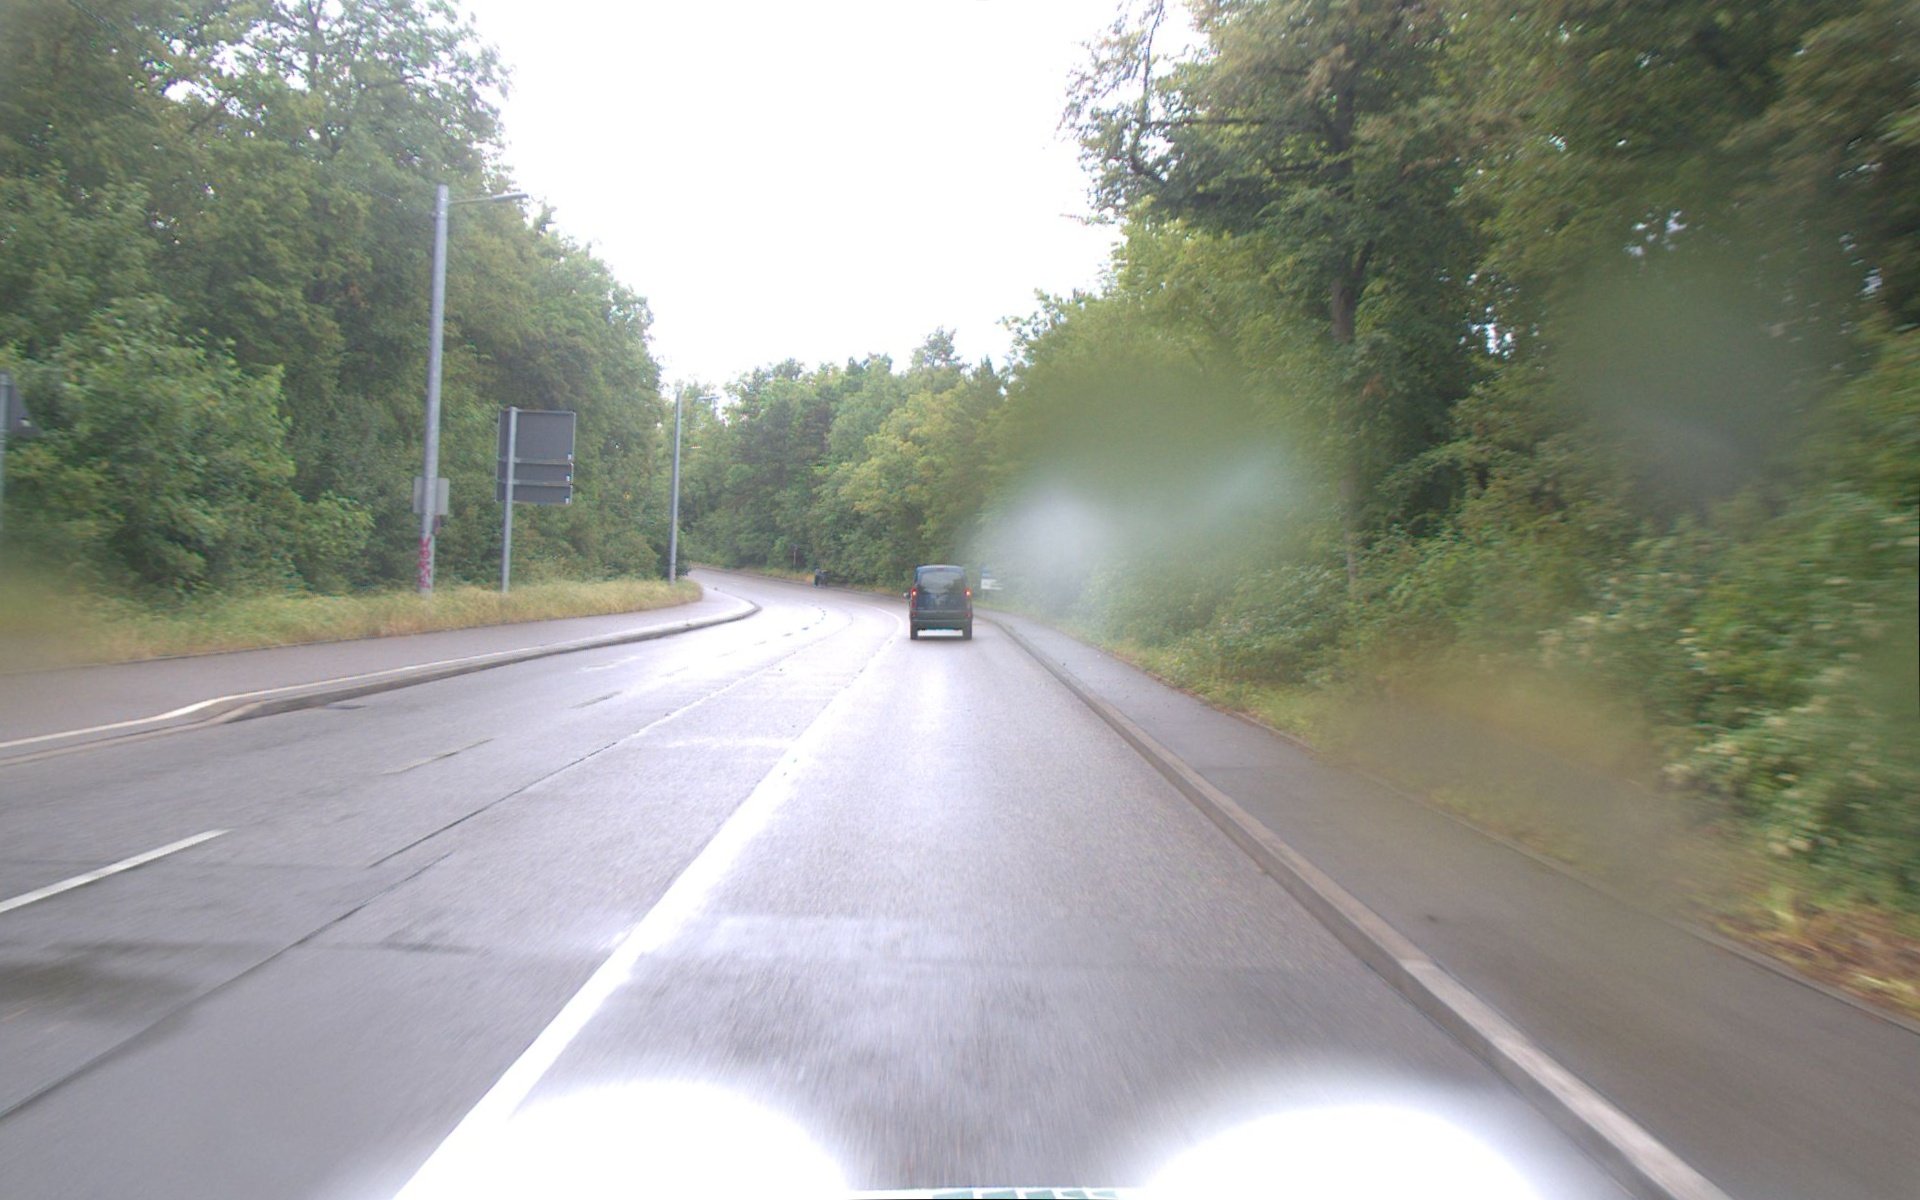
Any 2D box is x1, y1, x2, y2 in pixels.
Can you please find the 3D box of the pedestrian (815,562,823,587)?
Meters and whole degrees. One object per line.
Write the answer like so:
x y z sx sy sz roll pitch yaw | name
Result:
-10.557 -1.904 123.932 0.482 1.902 0.677 1 1 -14 | pedestrian

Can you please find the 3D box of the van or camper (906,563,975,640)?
-0.529 0.048 43.255 1.678 1.858 3.999 2 0 -2 | van or camper

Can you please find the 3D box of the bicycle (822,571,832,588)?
-9.974 -1.547 123.790 0.480 1.267 1.741 1 1 -13 | bicycle
